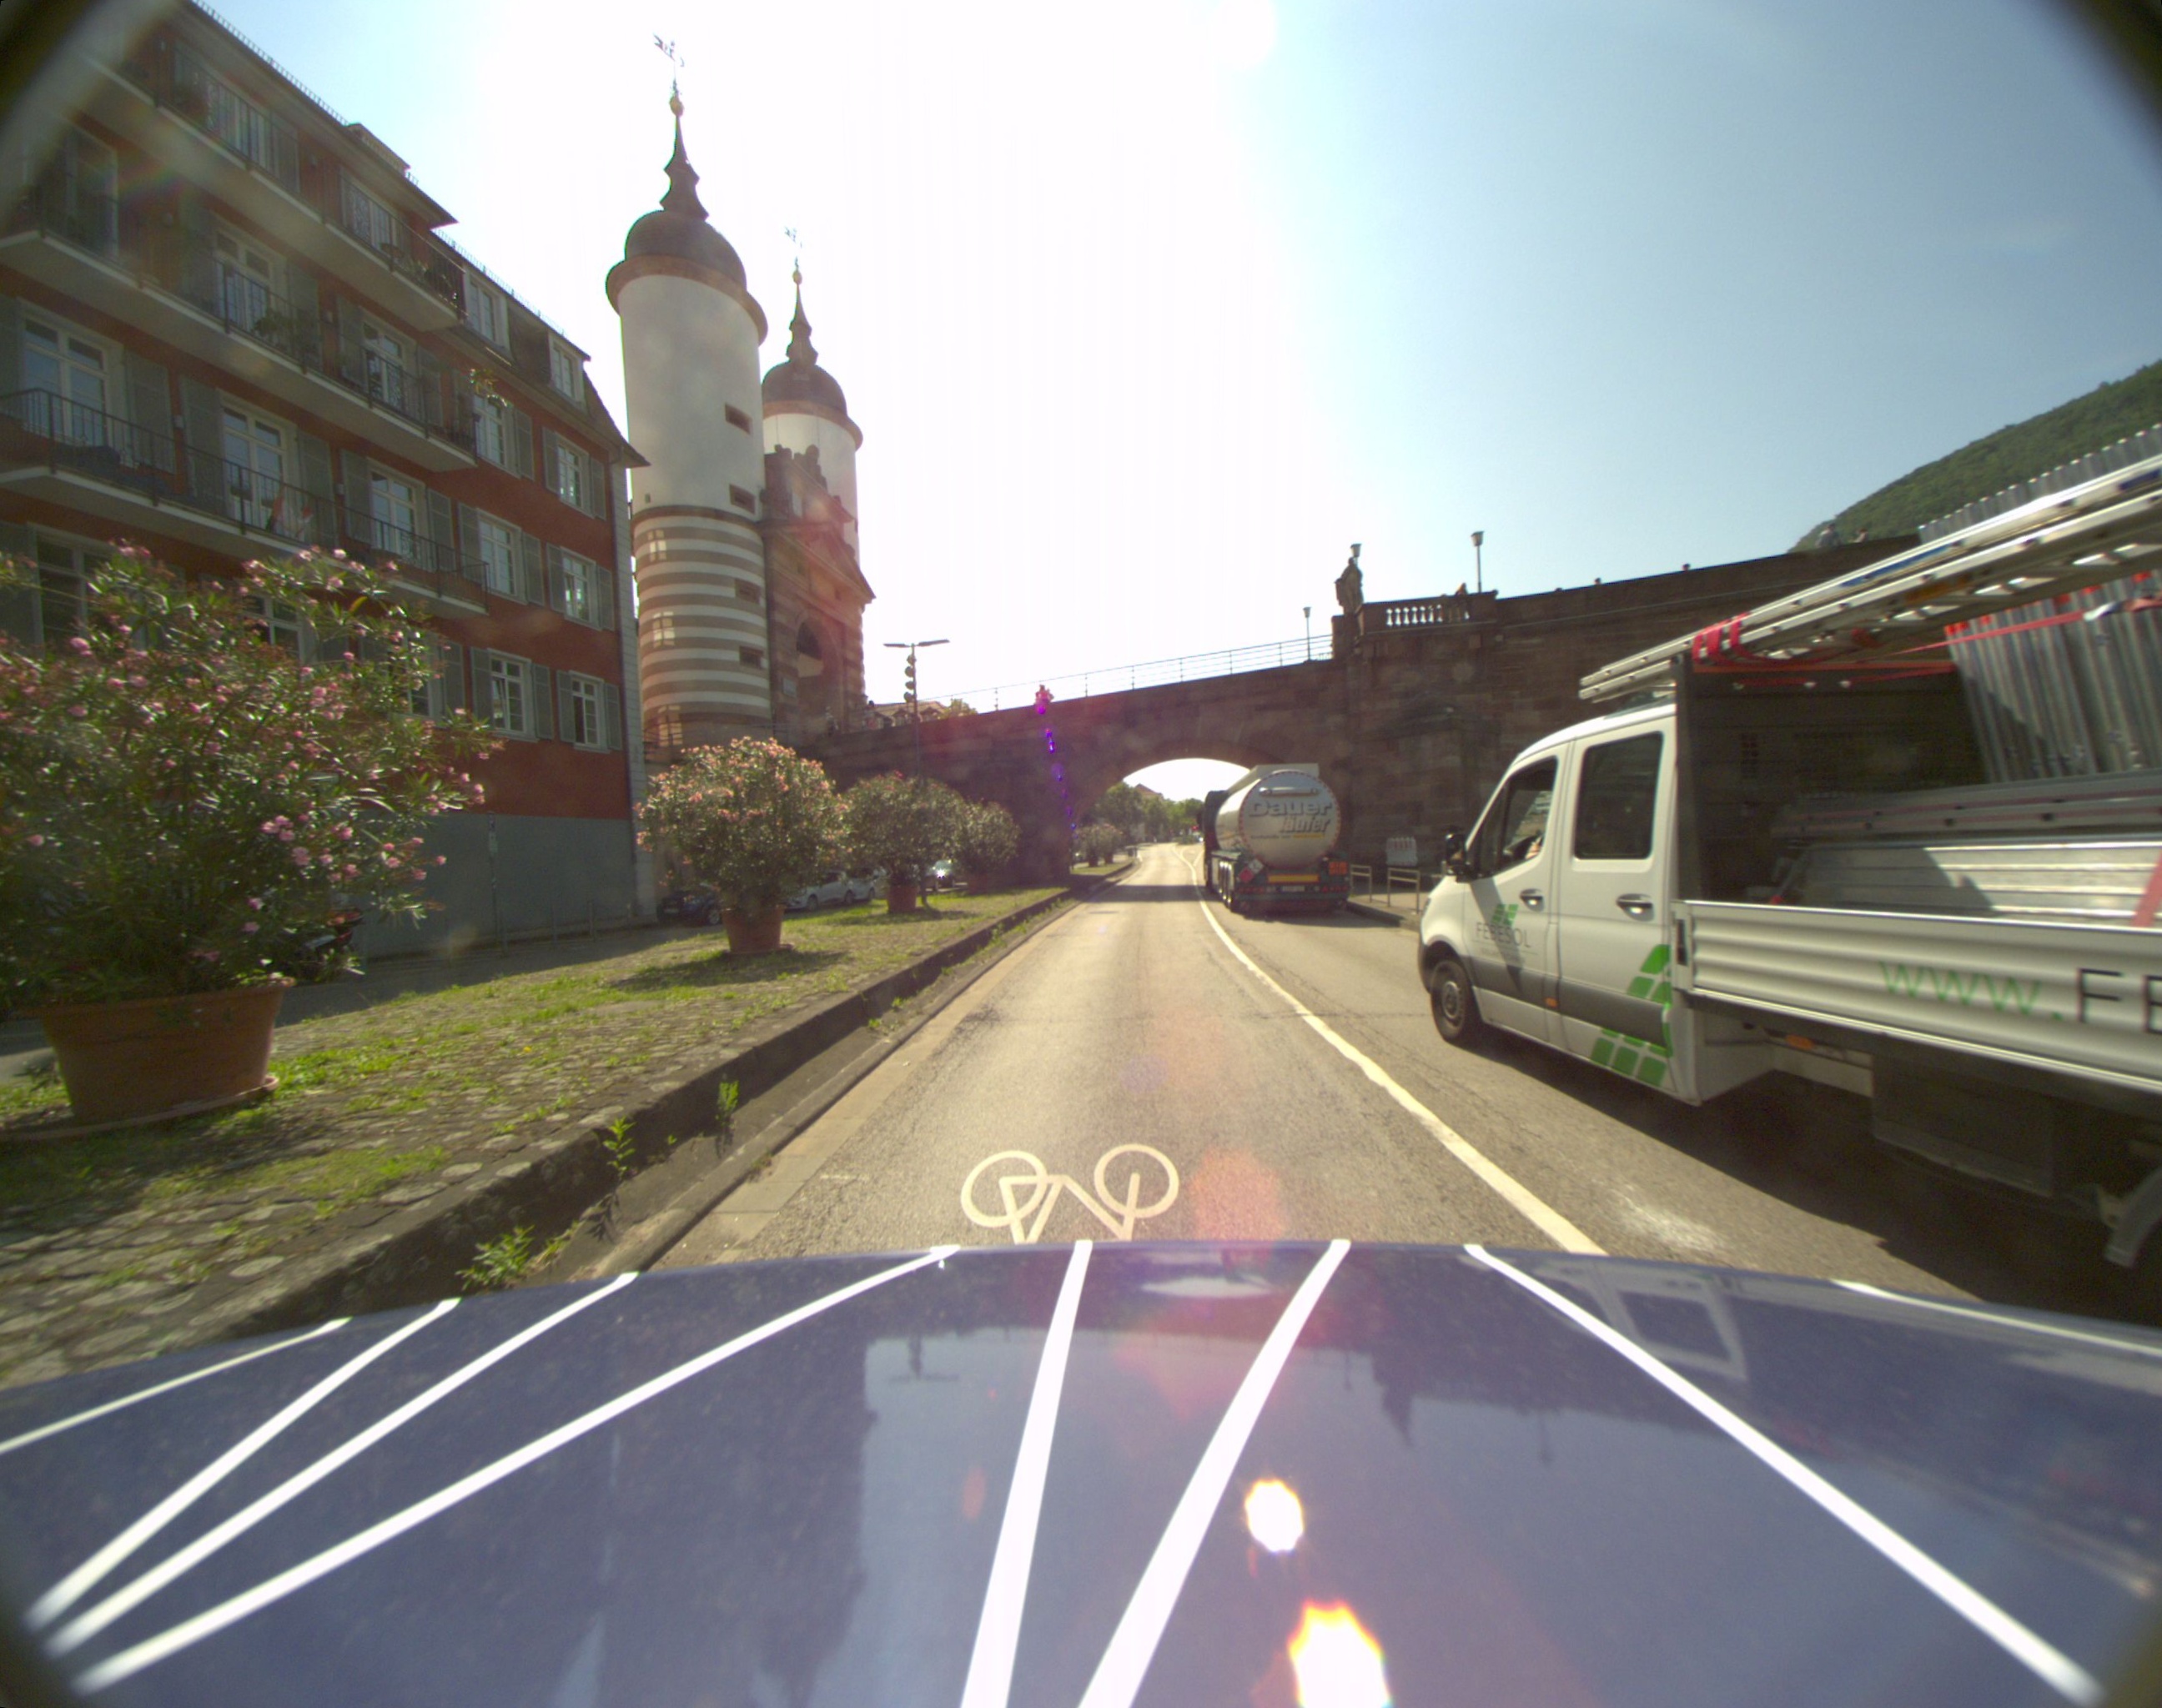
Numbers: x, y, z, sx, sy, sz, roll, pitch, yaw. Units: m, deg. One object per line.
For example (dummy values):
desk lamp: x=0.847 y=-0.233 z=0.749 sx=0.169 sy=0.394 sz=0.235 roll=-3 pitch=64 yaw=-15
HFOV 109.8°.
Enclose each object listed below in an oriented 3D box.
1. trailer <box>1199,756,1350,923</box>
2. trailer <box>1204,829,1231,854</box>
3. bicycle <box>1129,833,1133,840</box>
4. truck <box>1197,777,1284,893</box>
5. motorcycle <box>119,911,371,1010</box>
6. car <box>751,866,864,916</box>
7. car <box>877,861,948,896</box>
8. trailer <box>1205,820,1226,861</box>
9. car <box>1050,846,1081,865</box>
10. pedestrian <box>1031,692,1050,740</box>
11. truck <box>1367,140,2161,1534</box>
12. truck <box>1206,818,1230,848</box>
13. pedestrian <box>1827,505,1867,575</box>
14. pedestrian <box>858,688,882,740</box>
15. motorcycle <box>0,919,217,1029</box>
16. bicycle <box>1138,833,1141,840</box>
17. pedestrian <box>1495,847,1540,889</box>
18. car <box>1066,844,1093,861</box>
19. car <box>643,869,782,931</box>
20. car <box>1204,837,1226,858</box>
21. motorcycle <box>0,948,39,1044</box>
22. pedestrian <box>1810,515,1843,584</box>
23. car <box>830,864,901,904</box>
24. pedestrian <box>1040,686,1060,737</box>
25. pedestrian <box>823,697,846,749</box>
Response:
trailer: x=5.132 y=-0.368 z=22.458 sx=2.529 sy=3.623 sz=11.534 roll=-1 pitch=1 yaw=5
trailer: x=14.691 y=-1.404 z=81.351 sx=2.702 sy=2.517 sz=6.950 roll=0 pitch=3 yaw=11
bicycle: x=8.166 y=-2.911 z=124.388 sx=0.344 sy=1.106 sz=1.920 roll=-1 pitch=2 yaw=15
truck: x=5.646 y=-0.625 z=27.805 sx=2.529 sy=3.727 sz=6.248 roll=0 pitch=0 yaw=6
motorcycle: x=-13.177 y=1.634 z=12.138 sx=2.547 sy=1.226 sz=0.840 roll=-2 pitch=0 yaw=-35
car: x=-9.918 y=1.298 z=27.958 sx=1.896 sy=1.484 sz=4.419 roll=-1 pitch=1 yaw=11
car: x=-8.226 y=1.165 z=37.564 sx=1.778 sy=1.428 sz=4.495 roll=-2 pitch=1 yaw=10
trailer: x=11.293 y=-1.146 z=63.936 sx=1.745 sy=3.302 sz=3.385 roll=0 pitch=2 yaw=9
car: x=-1.298 y=0.101 z=67.089 sx=1.757 sy=1.424 sz=4.758 roll=-2 pitch=2 yaw=10
pedestrian: x=-1.783 y=-6.065 z=33.471 sx=0.639 sy=2.002 sz=0.707 roll=-1 pitch=2 yaw=8
truck: x=3.721 y=-0.039 z=2.991 sx=2.382 sy=3.242 sz=7.611 roll=0 pitch=0 yaw=1
truck: x=16.269 y=-2.546 z=89.766 sx=2.646 sy=3.438 sz=7.874 roll=0 pitch=2 yaw=11
pedestrian: x=25.309 y=-10.359 z=25.115 sx=0.694 sy=2.002 sz=0.625 roll=-2 pitch=2 yaw=1
pedestrian: x=-8.742 y=-5.811 z=31.532 sx=0.639 sy=2.002 sz=0.707 roll=-1 pitch=2 yaw=8
motorcycle: x=-13.526 y=1.607 z=10.337 sx=2.157 sy=1.226 sz=0.840 roll=-2 pitch=0 yaw=-35
bicycle: x=10.366 y=-3.090 z=134.890 sx=0.476 sy=1.255 sz=2.163 roll=0 pitch=2 yaw=9
pedestrian: x=13.319 y=0.422 z=23.205 sx=0.790 sy=1.222 sz=1.026 roll=-3 pitch=0 yaw=3
car: x=-0.132 y=-0.133 z=71.674 sx=1.614 sy=1.406 sz=3.906 roll=-2 pitch=2 yaw=13
car: x=-11.175 y=1.347 z=23.362 sx=1.674 sy=1.533 sz=3.814 roll=-3 pitch=1 yaw=14
car: x=12.019 y=-0.597 z=68.434 sx=1.878 sy=1.817 sz=4.546 roll=0 pitch=1 yaw=9
motorcycle: x=-13.714 y=1.742 z=8.561 sx=2.202 sy=1.070 sz=0.627 roll=-2 pitch=1 yaw=-38
pedestrian: x=24.676 y=-10.055 z=25.152 sx=0.467 sy=2.002 sz=0.639 roll=-2 pitch=2 yaw=1
car: x=-9.065 y=1.227 z=32.264 sx=1.557 sy=1.468 sz=3.669 roll=-2 pitch=1 yaw=7
pedestrian: x=-1.305 y=-6.042 z=32.229 sx=0.639 sy=2.002 sz=0.707 roll=-1 pitch=2 yaw=8
pedestrian: x=-10.338 y=-5.477 z=31.848 sx=0.579 sy=2.002 sz=0.707 roll=-1 pitch=2 yaw=8
